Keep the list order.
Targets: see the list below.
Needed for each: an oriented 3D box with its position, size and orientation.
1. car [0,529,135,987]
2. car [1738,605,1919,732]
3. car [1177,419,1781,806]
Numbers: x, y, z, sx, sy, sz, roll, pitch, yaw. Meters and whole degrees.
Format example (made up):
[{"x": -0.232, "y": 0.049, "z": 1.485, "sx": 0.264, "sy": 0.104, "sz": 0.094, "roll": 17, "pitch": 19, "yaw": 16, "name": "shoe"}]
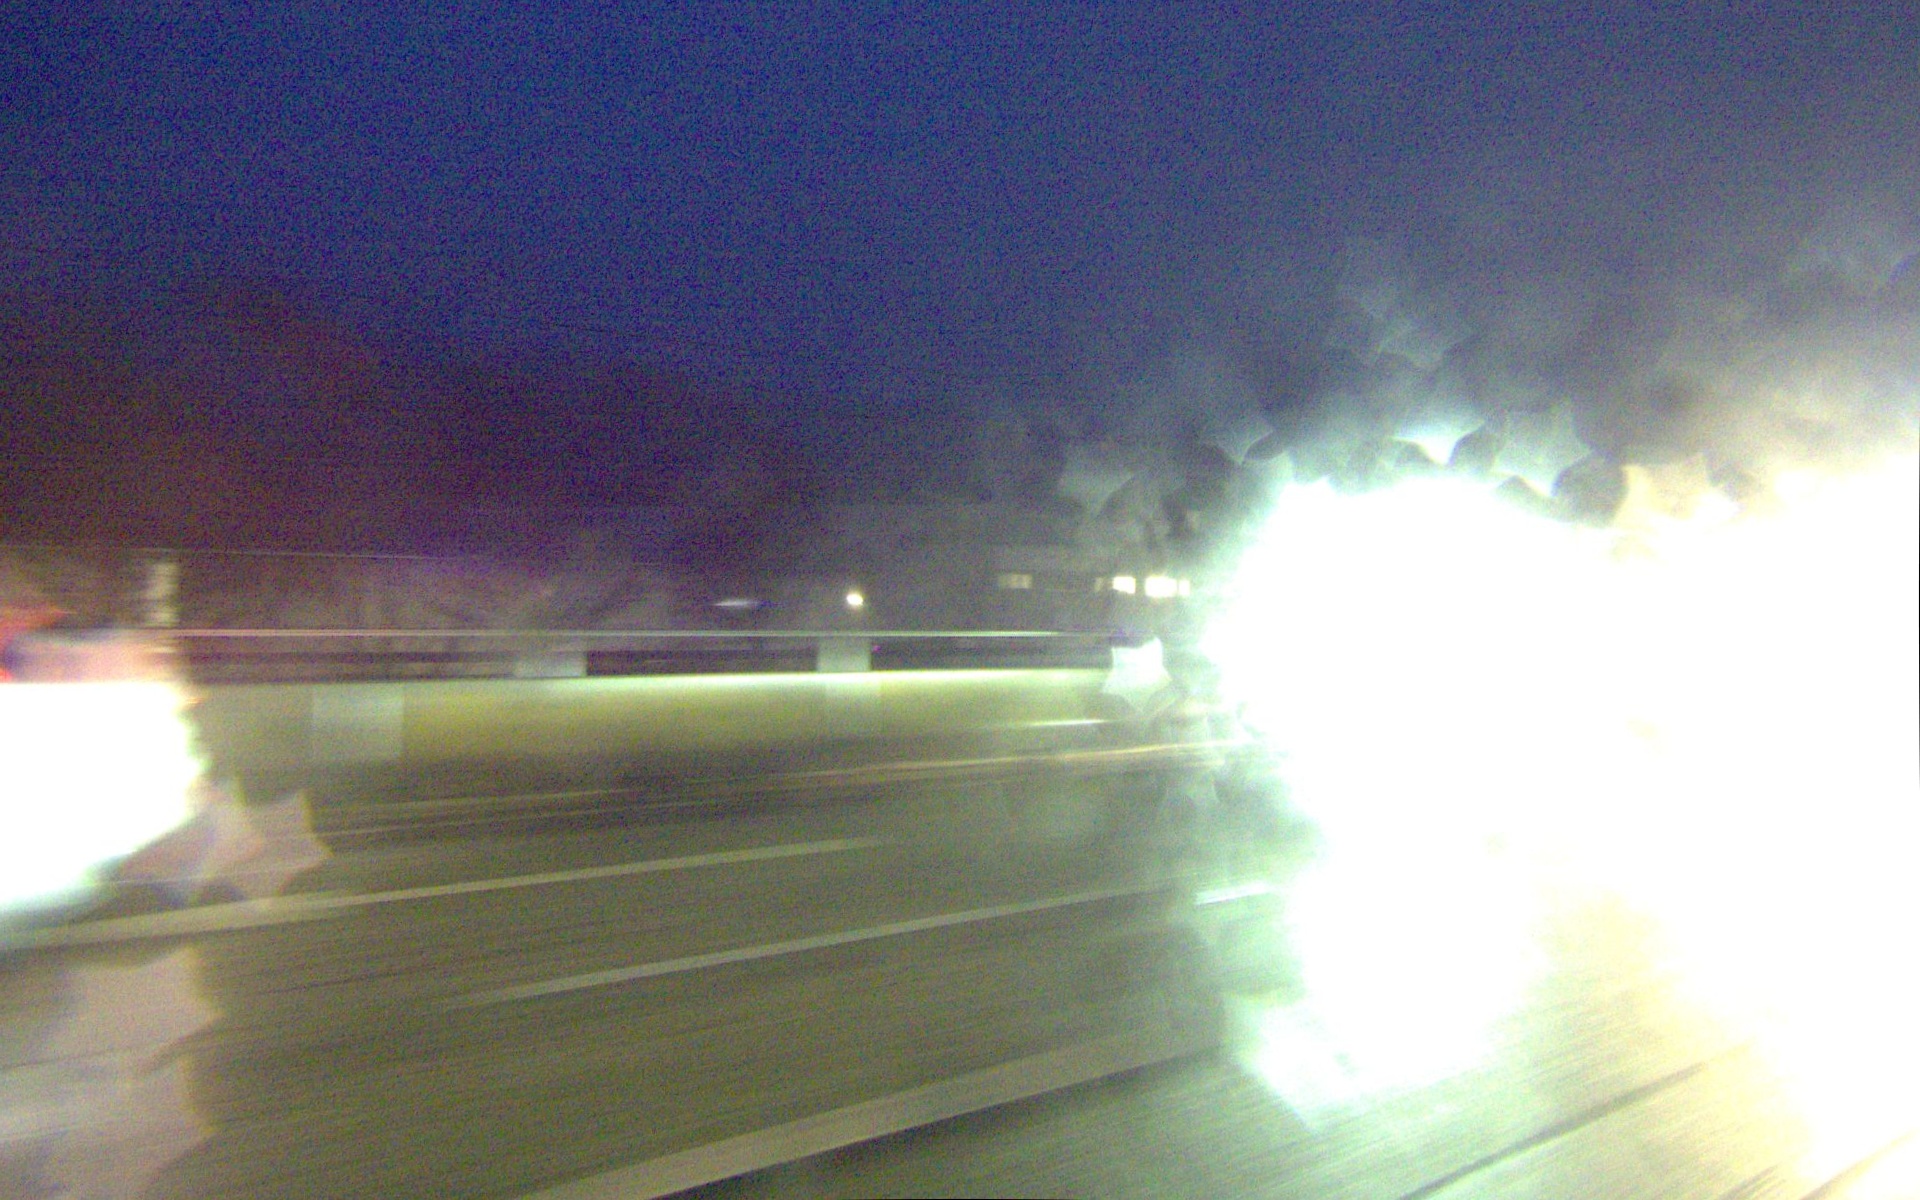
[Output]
[{"x": -5.565, "y": 0.508, "z": 3.215, "sx": 4.261, "sy": 1.609, "sz": 1.712, "roll": 1, "pitch": 0, "yaw": -31, "name": "car"}, {"x": 13.239, "y": 0.904, "z": 14.485, "sx": 3.941, "sy": 1.557, "sz": 1.869, "roll": 1, "pitch": 0, "yaw": -31, "name": "car"}, {"x": 5.141, "y": 0.134, "z": 9.591, "sx": 6.166, "sy": 2.744, "sz": 2.112, "roll": 1, "pitch": 0, "yaw": -30, "name": "car"}]
